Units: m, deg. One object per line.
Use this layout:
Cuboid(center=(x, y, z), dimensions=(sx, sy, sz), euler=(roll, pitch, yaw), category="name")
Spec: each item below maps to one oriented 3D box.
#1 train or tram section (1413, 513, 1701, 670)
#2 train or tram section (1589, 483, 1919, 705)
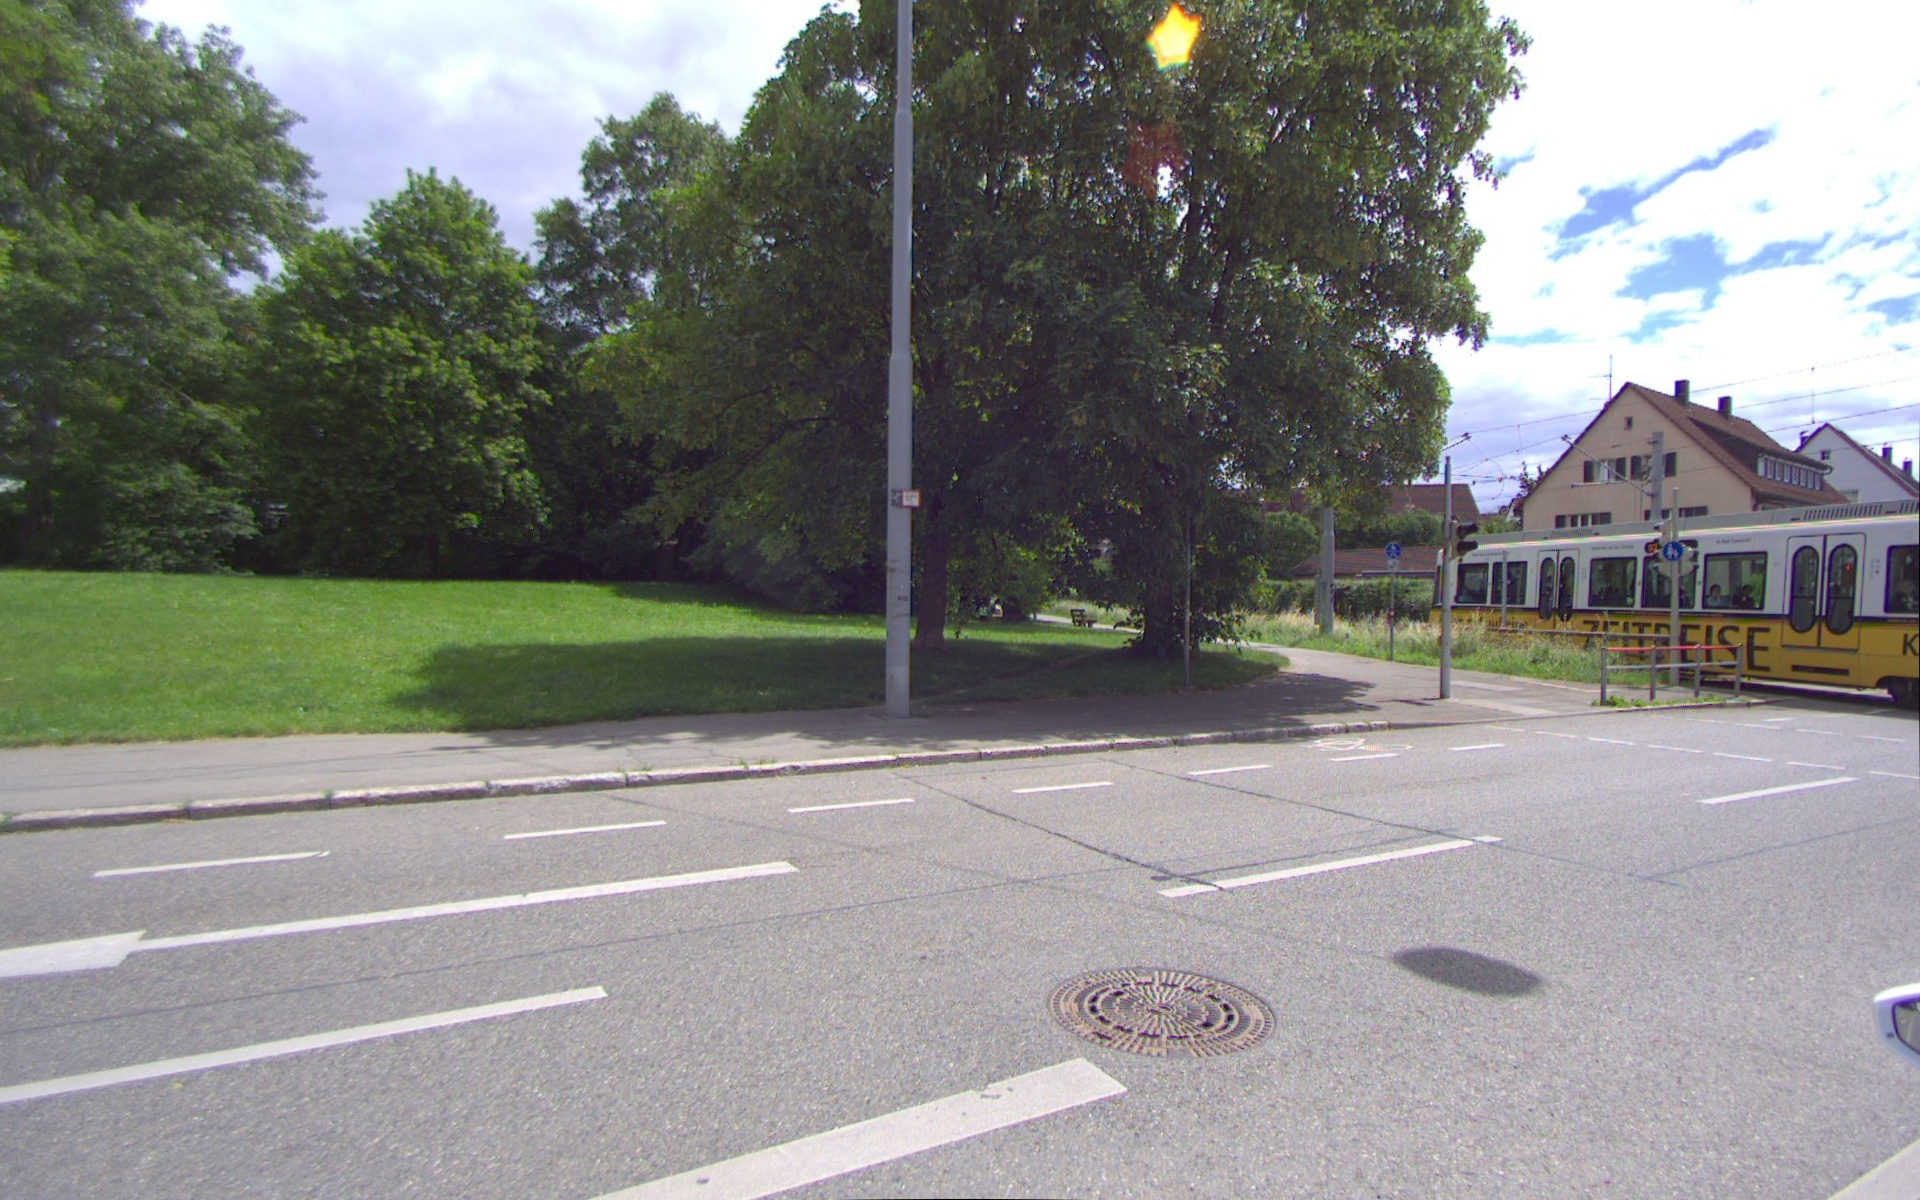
Cuboid(center=(16.409, -0.267, 28.514), dimensions=(2.816, 3.772, 7.707), euler=(2, 1, -7), category="train or tram section")
Cuboid(center=(17.289, -0.144, 20.897), dimensions=(2.816, 3.772, 7.707), euler=(2, 1, -7), category="train or tram section")
